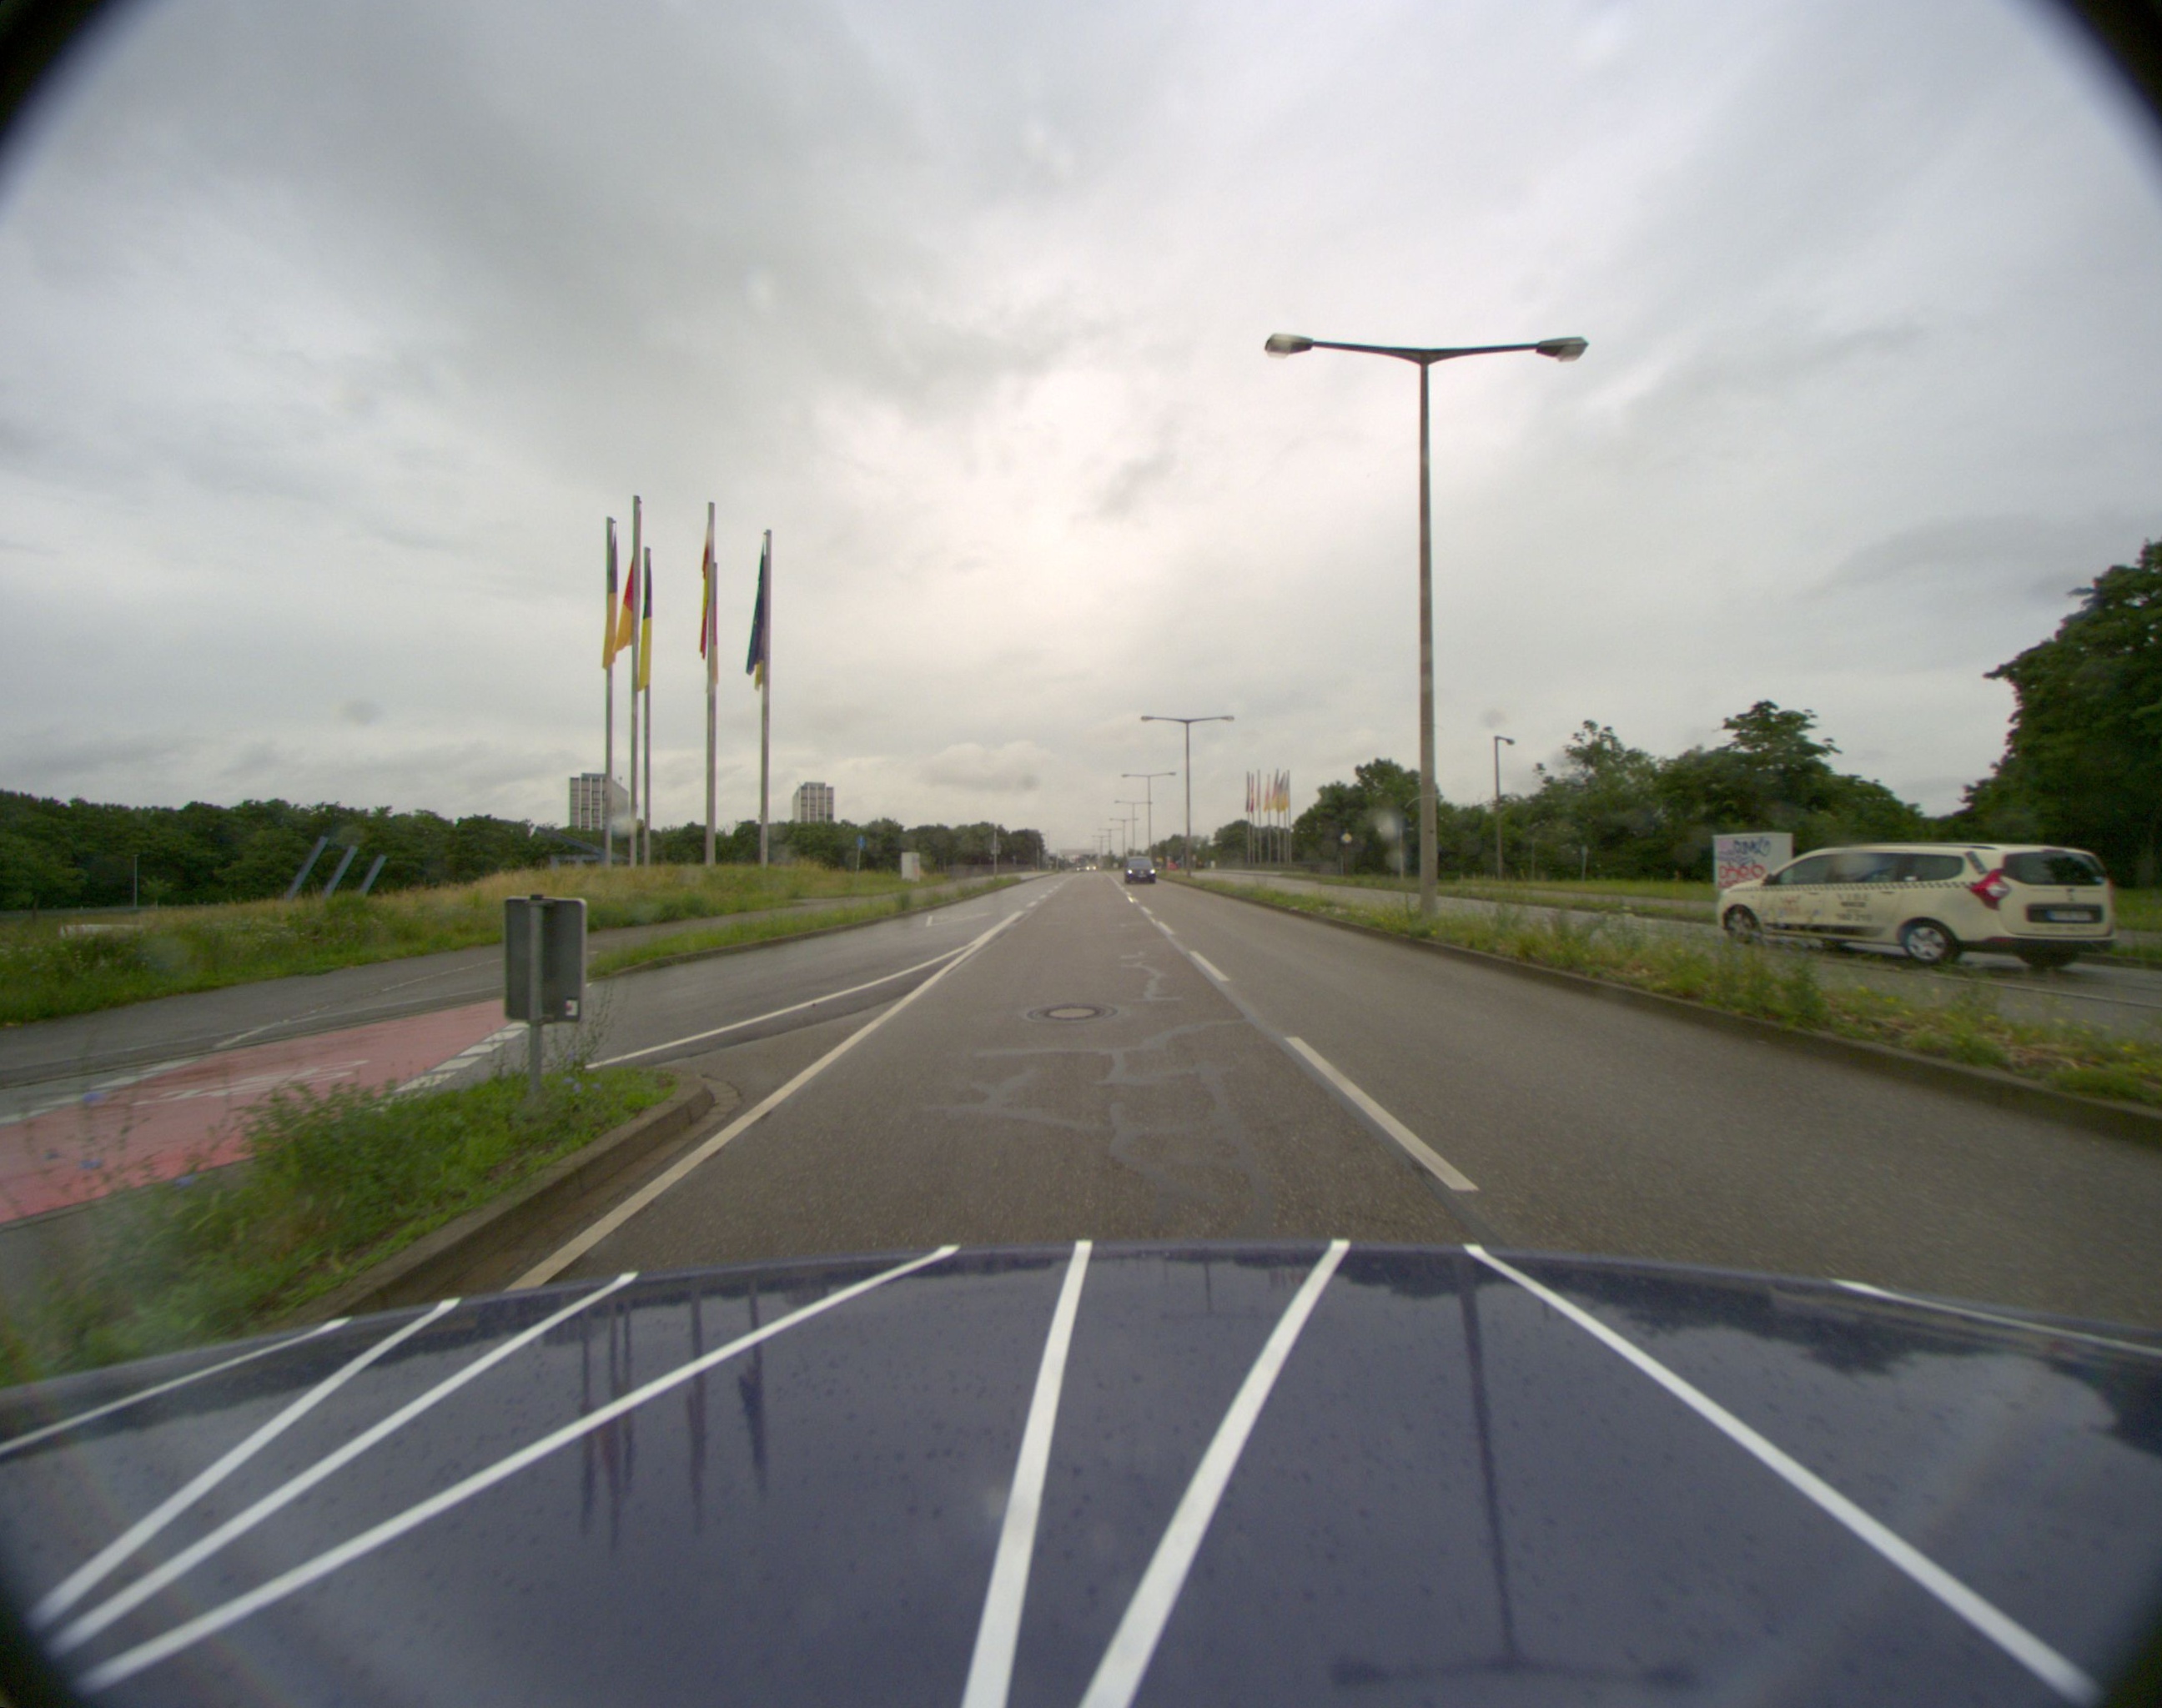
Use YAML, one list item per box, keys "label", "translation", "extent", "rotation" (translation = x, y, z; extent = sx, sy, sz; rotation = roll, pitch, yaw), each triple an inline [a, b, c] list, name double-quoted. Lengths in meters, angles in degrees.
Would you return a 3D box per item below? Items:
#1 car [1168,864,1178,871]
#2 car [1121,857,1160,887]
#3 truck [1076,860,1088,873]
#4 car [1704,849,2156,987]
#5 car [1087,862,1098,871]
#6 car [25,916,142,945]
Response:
- label: "car"
  translation: [18.091, 2.638, 149.196]
  extent: [1.664, 1.440, 3.557]
  rotation: [1, 0, 1]
- label: "car"
  translation: [3.793, 1.120, 49.145]
  extent: [1.851, 1.740, 4.815]
  rotation: [-2, 1, -3]
- label: "truck"
  translation: [0.151, 3.217, 194.817]
  extent: [2.860, 3.196, 8.097]
  rotation: [-1, 0, -1]
- label: "car"
  translation: [12.053, 0.784, 11.382]
  extent: [1.711, 1.620, 4.492]
  rotation: [1, 0, 0]
- label: "car"
  translation: [2.176, 2.346, 143.868]
  extent: [1.999, 1.700, 4.000]
  rotation: [-1, 0, -1]
- label: "car"
  translation: [-71.752, 5.474, 54.735]
  extent: [4.749, 1.688, 1.996]
  rotation: [-1, 0, -20]
